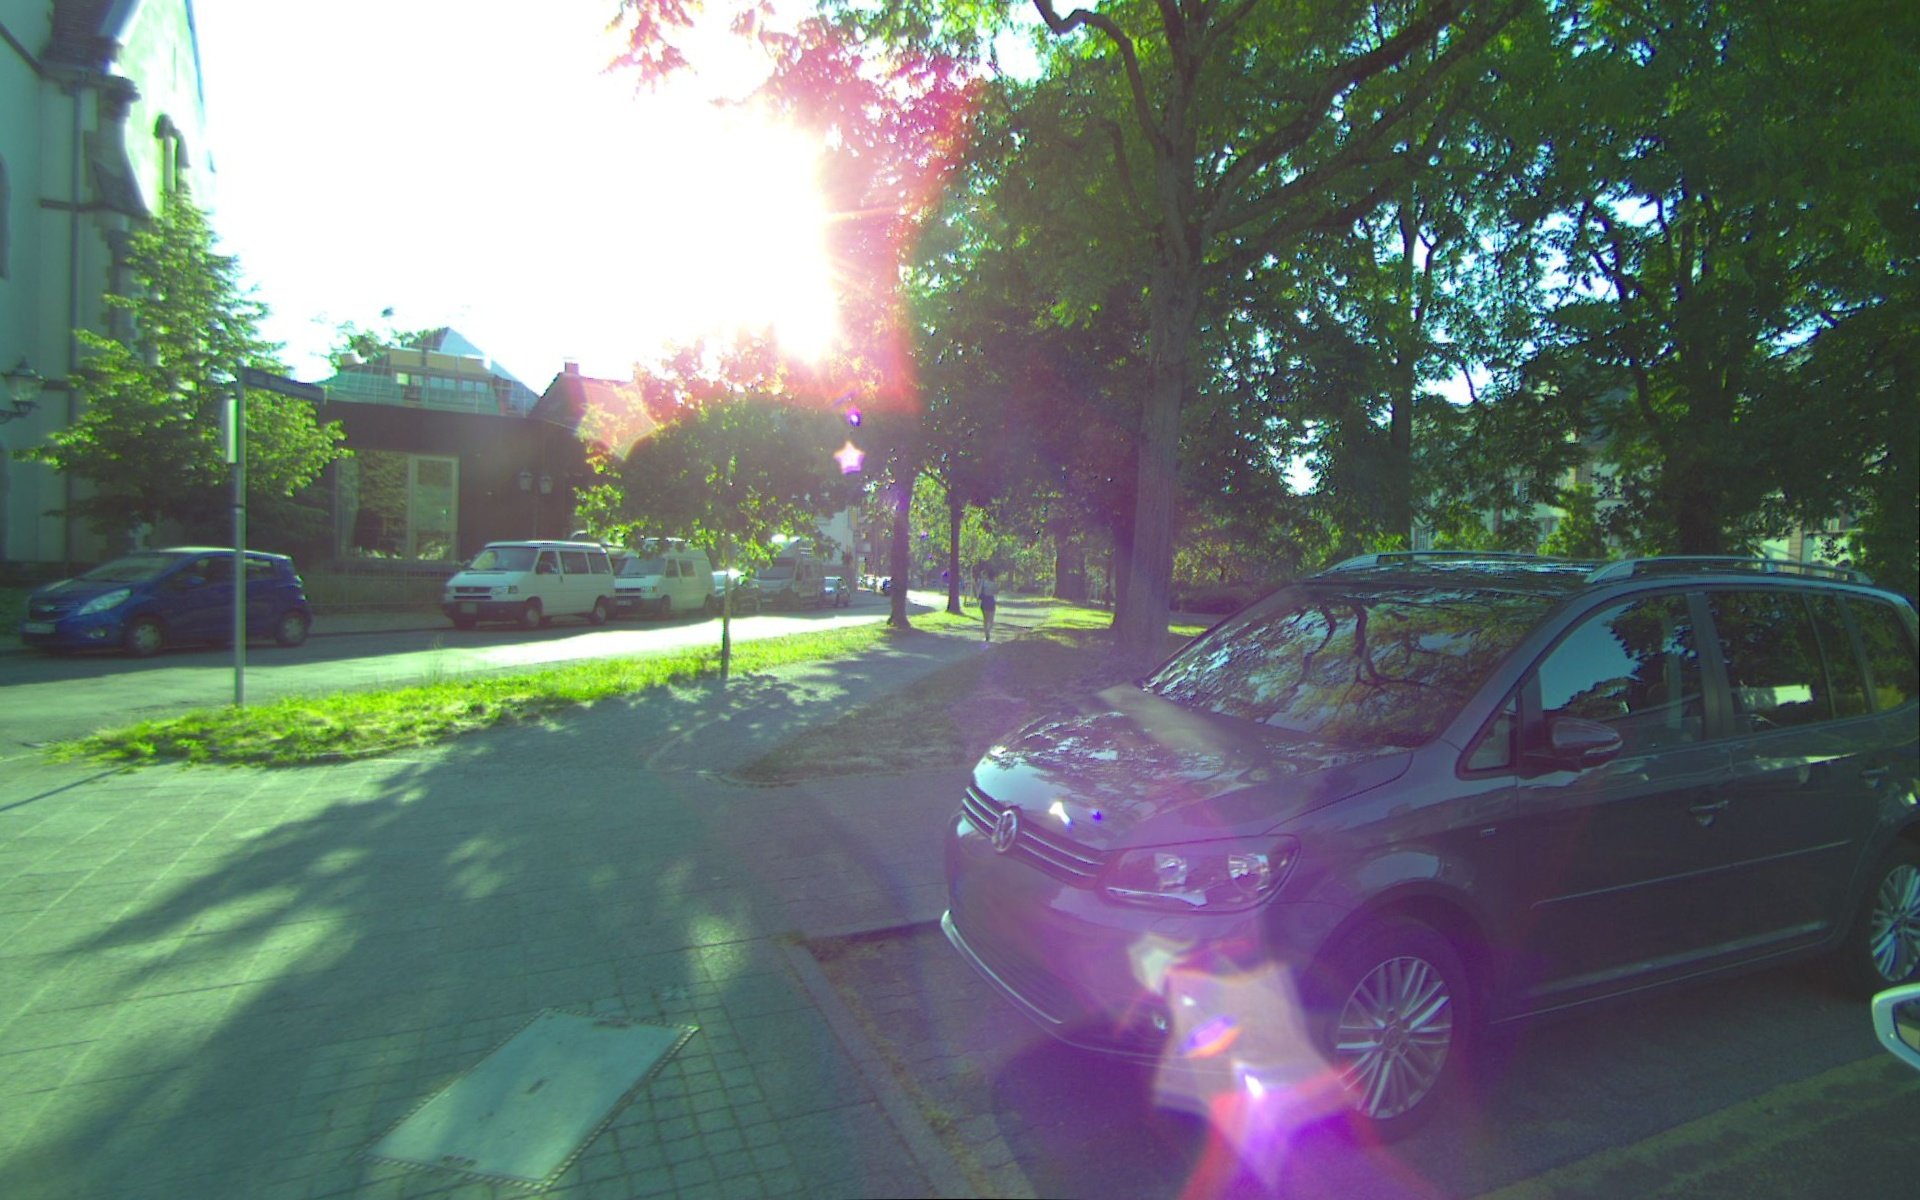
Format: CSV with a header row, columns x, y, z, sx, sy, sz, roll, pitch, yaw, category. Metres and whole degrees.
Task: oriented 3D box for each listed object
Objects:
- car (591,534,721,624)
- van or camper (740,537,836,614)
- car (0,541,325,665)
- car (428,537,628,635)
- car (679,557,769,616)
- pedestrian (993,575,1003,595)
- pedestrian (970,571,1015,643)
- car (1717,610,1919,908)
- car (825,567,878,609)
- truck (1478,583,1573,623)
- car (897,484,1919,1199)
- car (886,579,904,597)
x,y,z,sx,sy,sz,roll,pitch,yaw,category
-8.883,-0.620,29.885,1.820,2.387,5.188,2,1,5,car
-7.158,-1.025,42.587,2.054,2.947,6.335,2,1,8,van or camper
-11.497,0.002,14.715,1.588,1.521,3.698,3,1,11,car
-9.837,-0.336,23.377,1.819,1.972,4.843,3,1,11,car
-8.259,-0.492,35.505,1.820,1.911,4.145,2,1,5,car
3.113,-1.209,82.750,0.625,1.619,0.669,2,1,-12,pedestrian
0.747,0.158,23.004,0.760,1.596,0.767,2,1,21,pedestrian
6.331,0.873,5.974,3.379,1.443,1.383,2,3,-24,car
-5.374,-0.622,50.234,1.820,1.911,4.145,2,1,5,car
48.394,0.166,86.290,2.565,3.070,7.994,2,1,-9,truck
2.084,0.586,4.013,4.261,1.698,1.796,2,3,-24,car
-5.707,-1.073,88.428,1.486,1.466,3.404,2,1,-2,car
